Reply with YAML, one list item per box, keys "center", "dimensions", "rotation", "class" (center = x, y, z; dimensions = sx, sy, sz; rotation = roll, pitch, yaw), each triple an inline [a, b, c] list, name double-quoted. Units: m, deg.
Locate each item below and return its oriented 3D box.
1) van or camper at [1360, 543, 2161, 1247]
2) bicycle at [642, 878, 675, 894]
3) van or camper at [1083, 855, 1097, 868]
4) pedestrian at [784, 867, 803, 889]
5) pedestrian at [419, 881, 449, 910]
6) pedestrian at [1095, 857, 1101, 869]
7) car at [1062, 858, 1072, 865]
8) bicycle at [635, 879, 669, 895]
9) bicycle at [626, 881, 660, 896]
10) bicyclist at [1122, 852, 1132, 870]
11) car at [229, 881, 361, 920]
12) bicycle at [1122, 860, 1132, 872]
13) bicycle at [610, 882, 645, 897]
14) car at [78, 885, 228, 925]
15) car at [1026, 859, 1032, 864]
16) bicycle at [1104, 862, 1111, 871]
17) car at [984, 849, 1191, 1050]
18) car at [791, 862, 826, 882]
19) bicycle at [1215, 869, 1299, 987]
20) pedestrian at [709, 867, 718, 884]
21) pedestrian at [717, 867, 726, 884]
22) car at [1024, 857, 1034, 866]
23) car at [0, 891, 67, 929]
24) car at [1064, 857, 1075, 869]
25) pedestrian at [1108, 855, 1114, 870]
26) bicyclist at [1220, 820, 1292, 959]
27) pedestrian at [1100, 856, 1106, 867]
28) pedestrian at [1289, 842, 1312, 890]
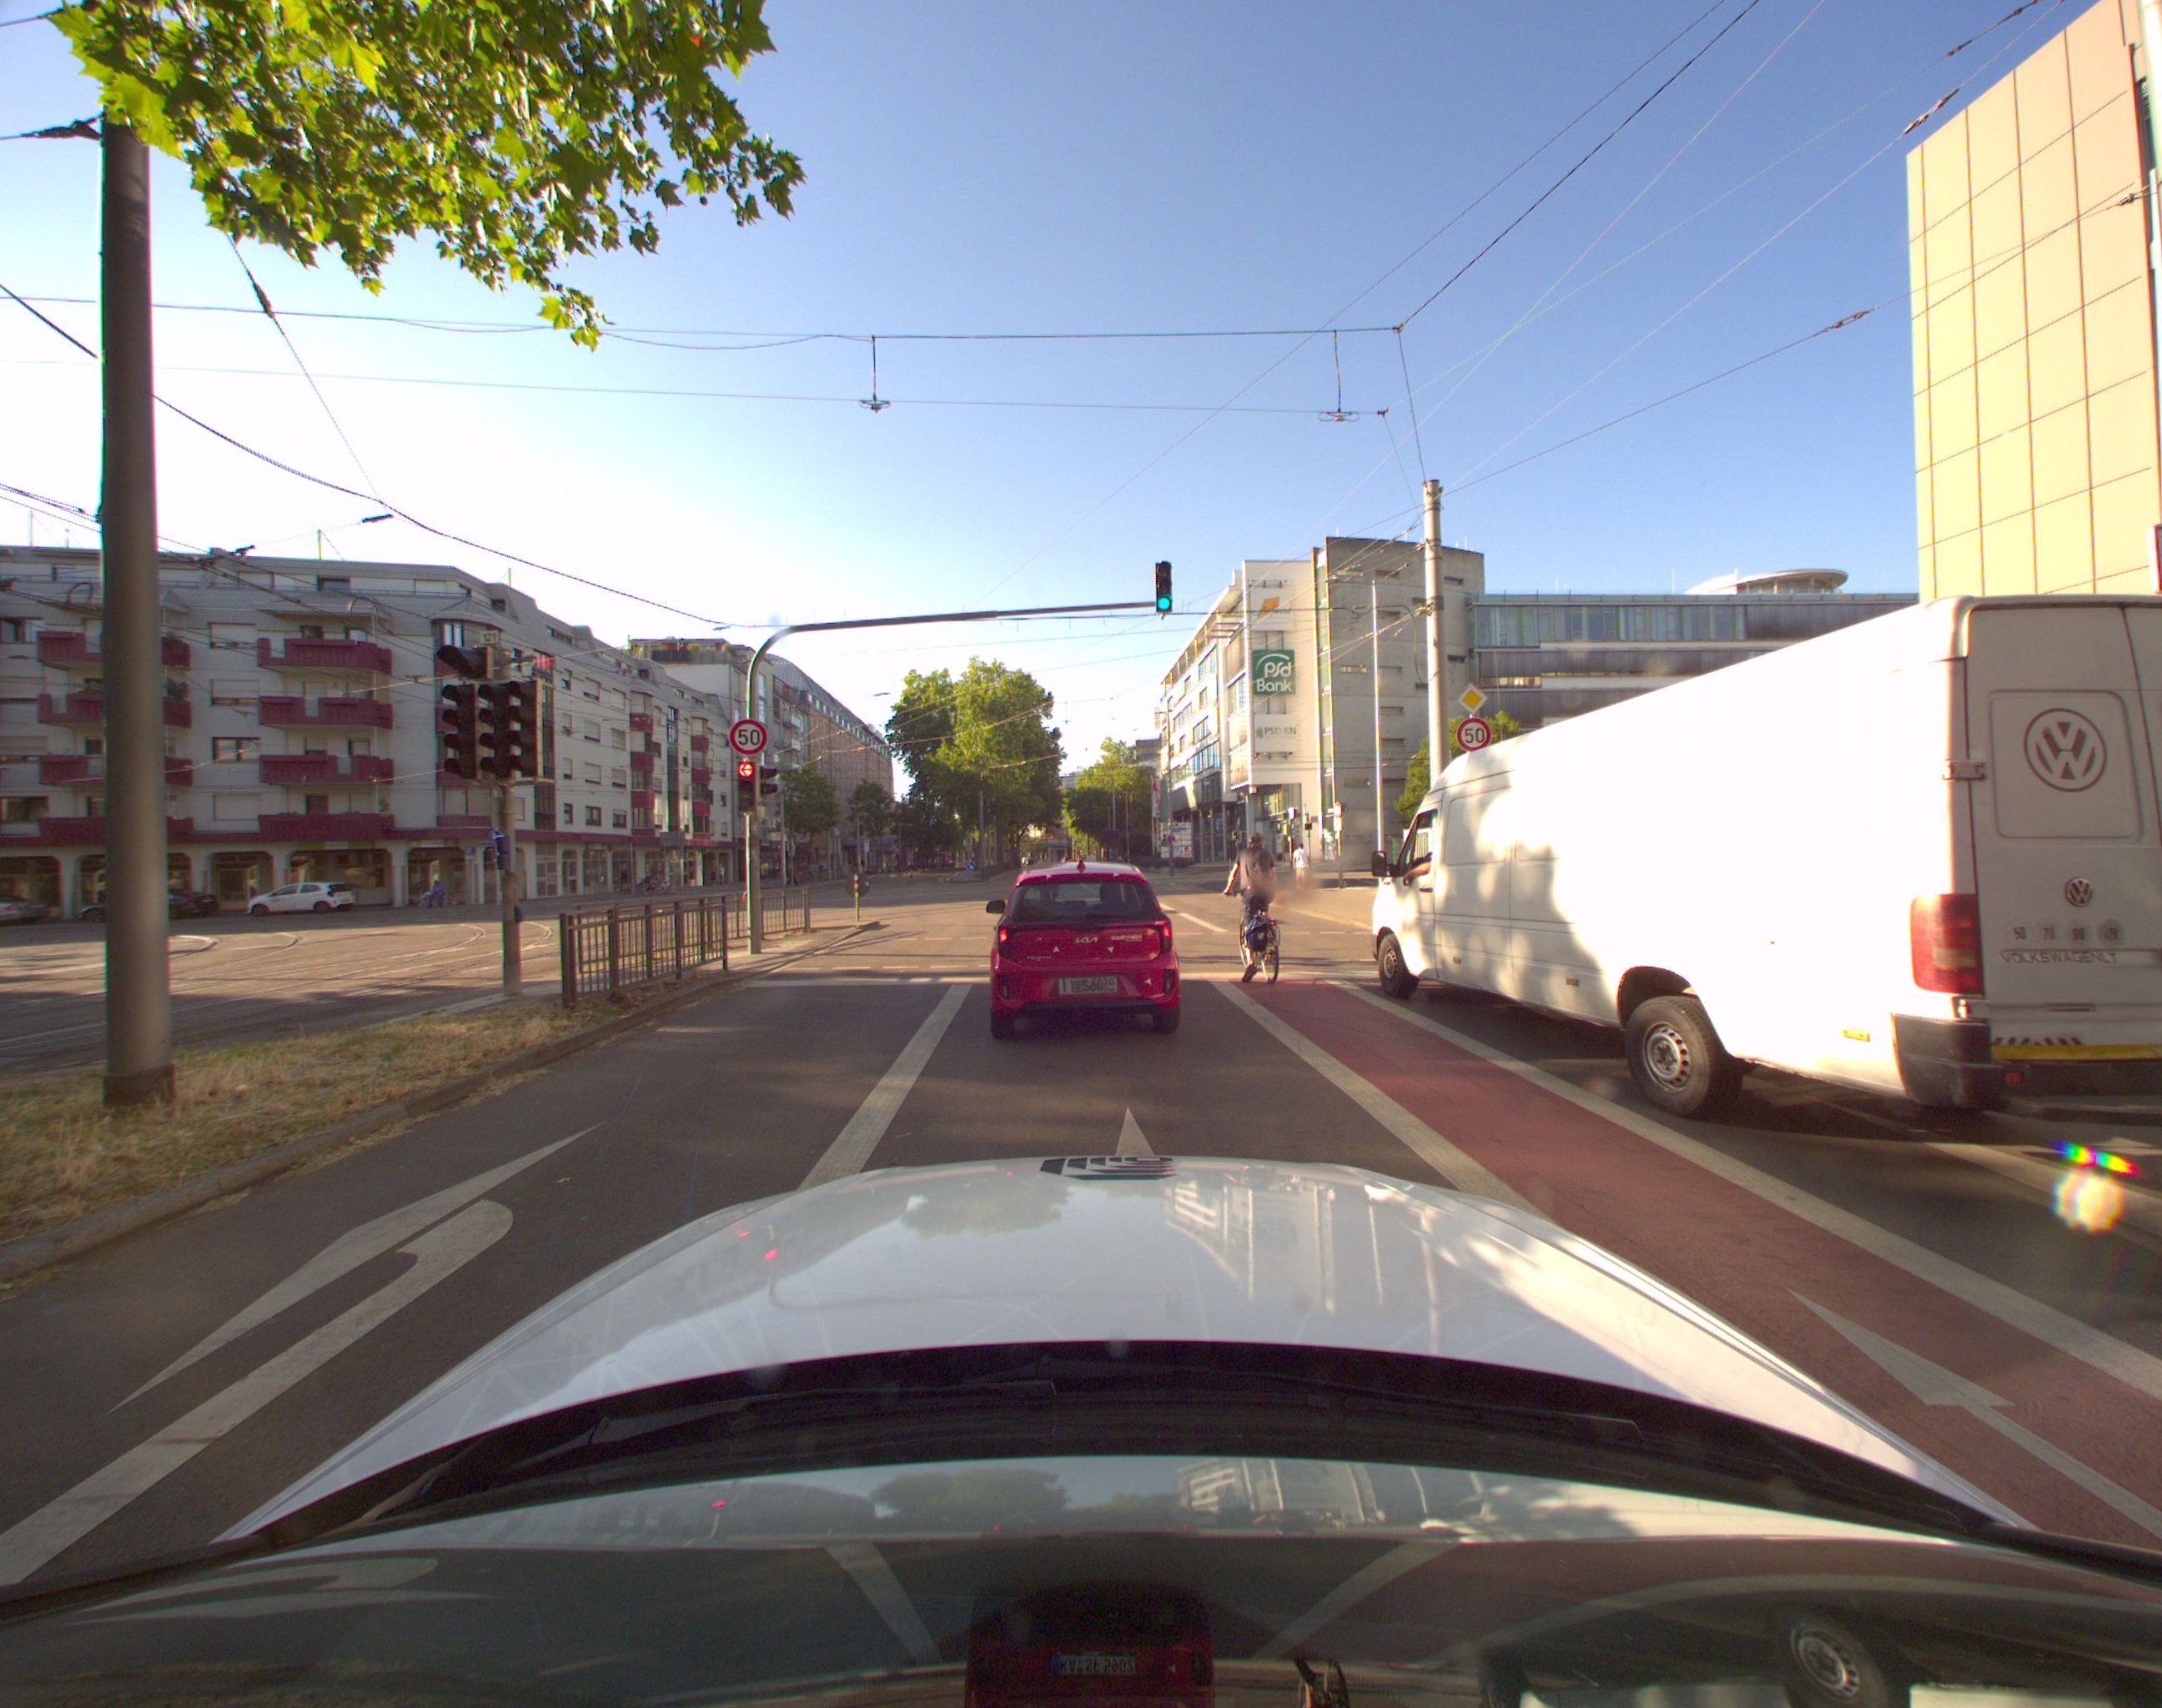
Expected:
- center: [4.295, 0.146, 6.328]
  dimensions: [1.963, 2.716, 6.301]
  rotation: [-1, 0, -1]
  class: "van or camper"
- center: [-27.705, 2.091, 53.418]
  dimensions: [1.840, 0.985, 0.552]
  rotation: [-2, 0, -6]
  class: "bicycle"
- center: [1.462, 1.182, 132.454]
  dimensions: [1.988, 1.989, 4.741]
  rotation: [-1, 0, -2]
  class: "van or camper"
- center: [-20.637, 1.692, 58.366]
  dimensions: [1.041, 1.544, 0.695]
  rotation: [-2, 0, 4]
  class: "pedestrian"
- center: [-32.465, 2.065, 40.871]
  dimensions: [0.857, 1.384, 0.833]
  rotation: [-2, 0, -14]
  class: "pedestrian"
- center: [2.268, 1.194, 109.529]
  dimensions: [0.640, 1.579, 0.723]
  rotation: [-5, 0, -2]
  class: "pedestrian"
- center: [-3.037, 1.567, 175.583]
  dimensions: [1.776, 1.535, 3.503]
  rotation: [-1, 0, -8]
  class: "car"
- center: [-27.791, 2.147, 52.804]
  dimensions: [1.840, 0.985, 0.552]
  rotation: [-2, 0, -6]
  class: "bicycle"
- center: [-27.698, 2.178, 51.535]
  dimensions: [1.837, 0.854, 0.553]
  rotation: [-2, 0, -1]
  class: "bicycle"
- center: [4.352, 0.678, 77.629]
  dimensions: [0.720, 1.603, 1.087]
  rotation: [-4, 0, -4]
  class: "bicyclist"
- center: [-37.166, 2.169, 38.632]
  dimensions: [3.989, 1.555, 1.992]
  rotation: [-2, 0, -12]
  class: "car"
- center: [4.390, 1.123, 77.651]
  dimensions: [0.695, 1.098, 1.748]
  rotation: [-5, 0, -4]
  class: "bicycle"
- center: [-28.259, 2.208, 50.773]
  dimensions: [1.837, 0.854, 0.553]
  rotation: [-2, 0, -1]
  class: "bicycle"
- center: [-42.422, 2.315, 37.330]
  dimensions: [4.112, 1.555, 1.992]
  rotation: [-2, 0, -12]
  class: "car"
- center: [-16.314, 2.333, 256.505]
  dimensions: [1.776, 1.535, 3.403]
  rotation: [-1, 0, -8]
  class: "car"
- center: [2.949, 1.375, 92.129]
  dimensions: [0.519, 0.975, 2.199]
  rotation: [-5, 0, -3]
  class: "bicycle"
- center: [-0.020, 0.748, 8.097]
  dimensions: [1.609, 1.535, 3.408]
  rotation: [-1, 0, -3]
  class: "car"
- center: [-24.613, 1.618, 73.688]
  dimensions: [1.951, 1.672, 4.255]
  rotation: [-2, 0, -4]
  class: "car"
- center: [2.144, 0.852, 10.173]
  dimensions: [0.647, 1.281, 1.967]
  rotation: [-2, 0, 2]
  class: "bicycle"
- center: [-31.955, 1.875, 70.775]
  dimensions: [0.533, 1.494, 0.586]
  rotation: [-2, 0, -6]
  class: "pedestrian"
- center: [-31.293, 1.871, 70.871]
  dimensions: [0.533, 1.494, 0.586]
  rotation: [-2, 0, -6]
  class: "pedestrian"
- center: [-11.271, 1.599, 177.649]
  dimensions: [1.991, 2.013, 3.992]
  rotation: [-2, 0, -6]
  class: "car"
- center: [-48.596, 2.537, 35.930]
  dimensions: [4.572, 1.555, 1.992]
  rotation: [-2, 0, -12]
  class: "car"
- center: [-1.796, 1.338, 127.358]
  dimensions: [1.631, 1.800, 3.328]
  rotation: [-2, 0, -1]
  class: "car"
- center: [3.402, 1.001, 91.919]
  dimensions: [0.644, 1.680, 0.651]
  rotation: [-2, 0, -1]
  class: "pedestrian"
- center: [2.141, 0.417, 10.077]
  dimensions: [0.647, 1.603, 1.089]
  rotation: [-2, 0, 2]
  class: "bicyclist"
- center: [3.639, 1.218, 135.119]
  dimensions: [0.888, 1.753, 0.841]
  rotation: [-2, 0, 1]
  class: "pedestrian"
- center: [8.681, 0.455, 32.202]
  dimensions: [0.771, 1.823, 1.221]
  rotation: [-2, 0, 18]
  class: "pedestrian"
